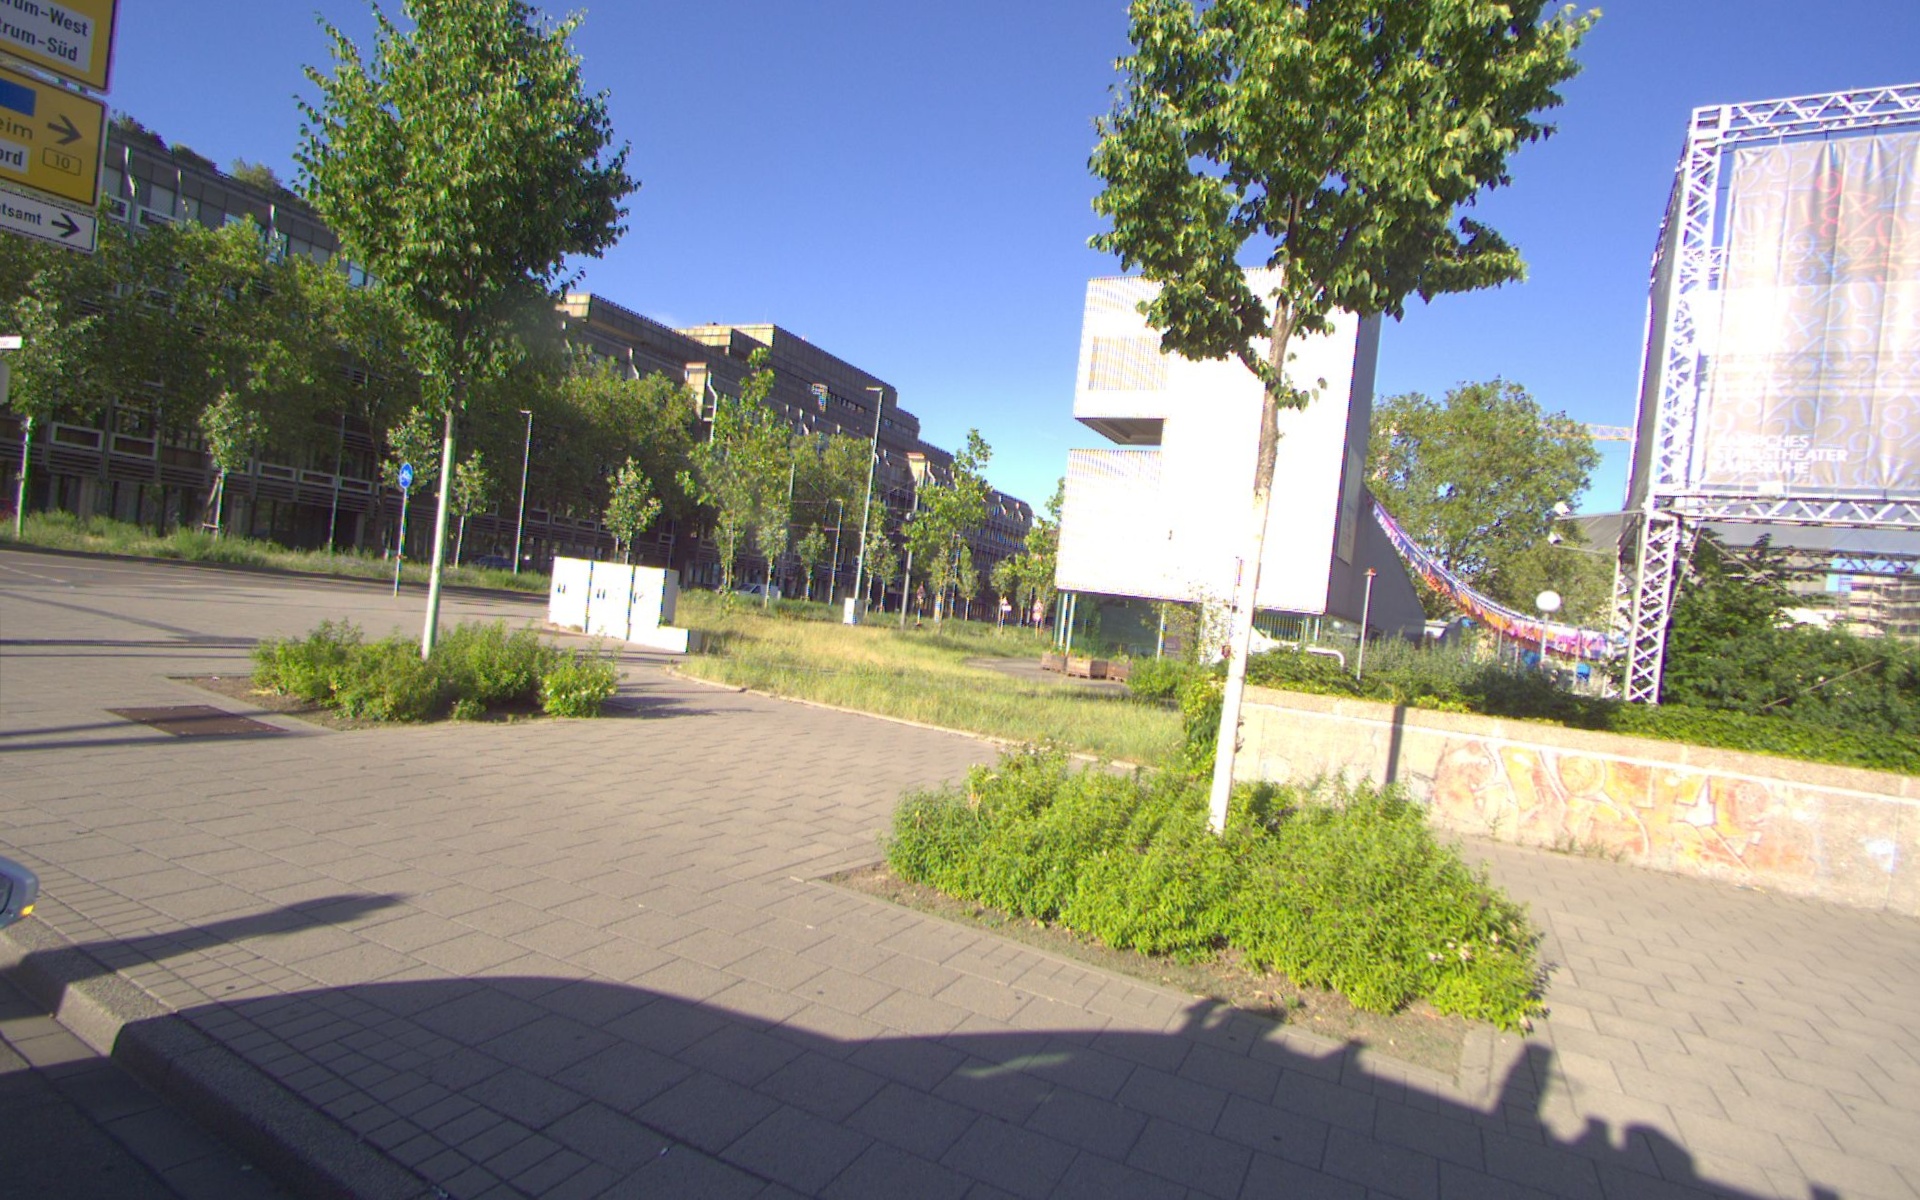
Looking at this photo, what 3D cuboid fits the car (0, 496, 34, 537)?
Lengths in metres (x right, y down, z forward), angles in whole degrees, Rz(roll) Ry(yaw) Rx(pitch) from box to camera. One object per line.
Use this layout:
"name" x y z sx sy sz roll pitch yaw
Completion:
"car" -39.612 -3.494 39.826 1.814 1.504 3.876 3 -2 26

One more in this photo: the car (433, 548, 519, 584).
"car" -31.772 -2.226 66.163 1.964 1.700 4.868 8 -1 23

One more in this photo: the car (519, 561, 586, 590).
"car" -28.991 -1.725 71.670 1.966 1.539 3.995 7 0 29

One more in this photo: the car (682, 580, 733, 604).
"car" -21.839 -0.700 87.104 1.834 1.615 4.274 6 -2 26

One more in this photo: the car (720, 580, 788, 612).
"car" -16.375 -0.297 80.346 2.226 2.038 5.705 4 -2 25
